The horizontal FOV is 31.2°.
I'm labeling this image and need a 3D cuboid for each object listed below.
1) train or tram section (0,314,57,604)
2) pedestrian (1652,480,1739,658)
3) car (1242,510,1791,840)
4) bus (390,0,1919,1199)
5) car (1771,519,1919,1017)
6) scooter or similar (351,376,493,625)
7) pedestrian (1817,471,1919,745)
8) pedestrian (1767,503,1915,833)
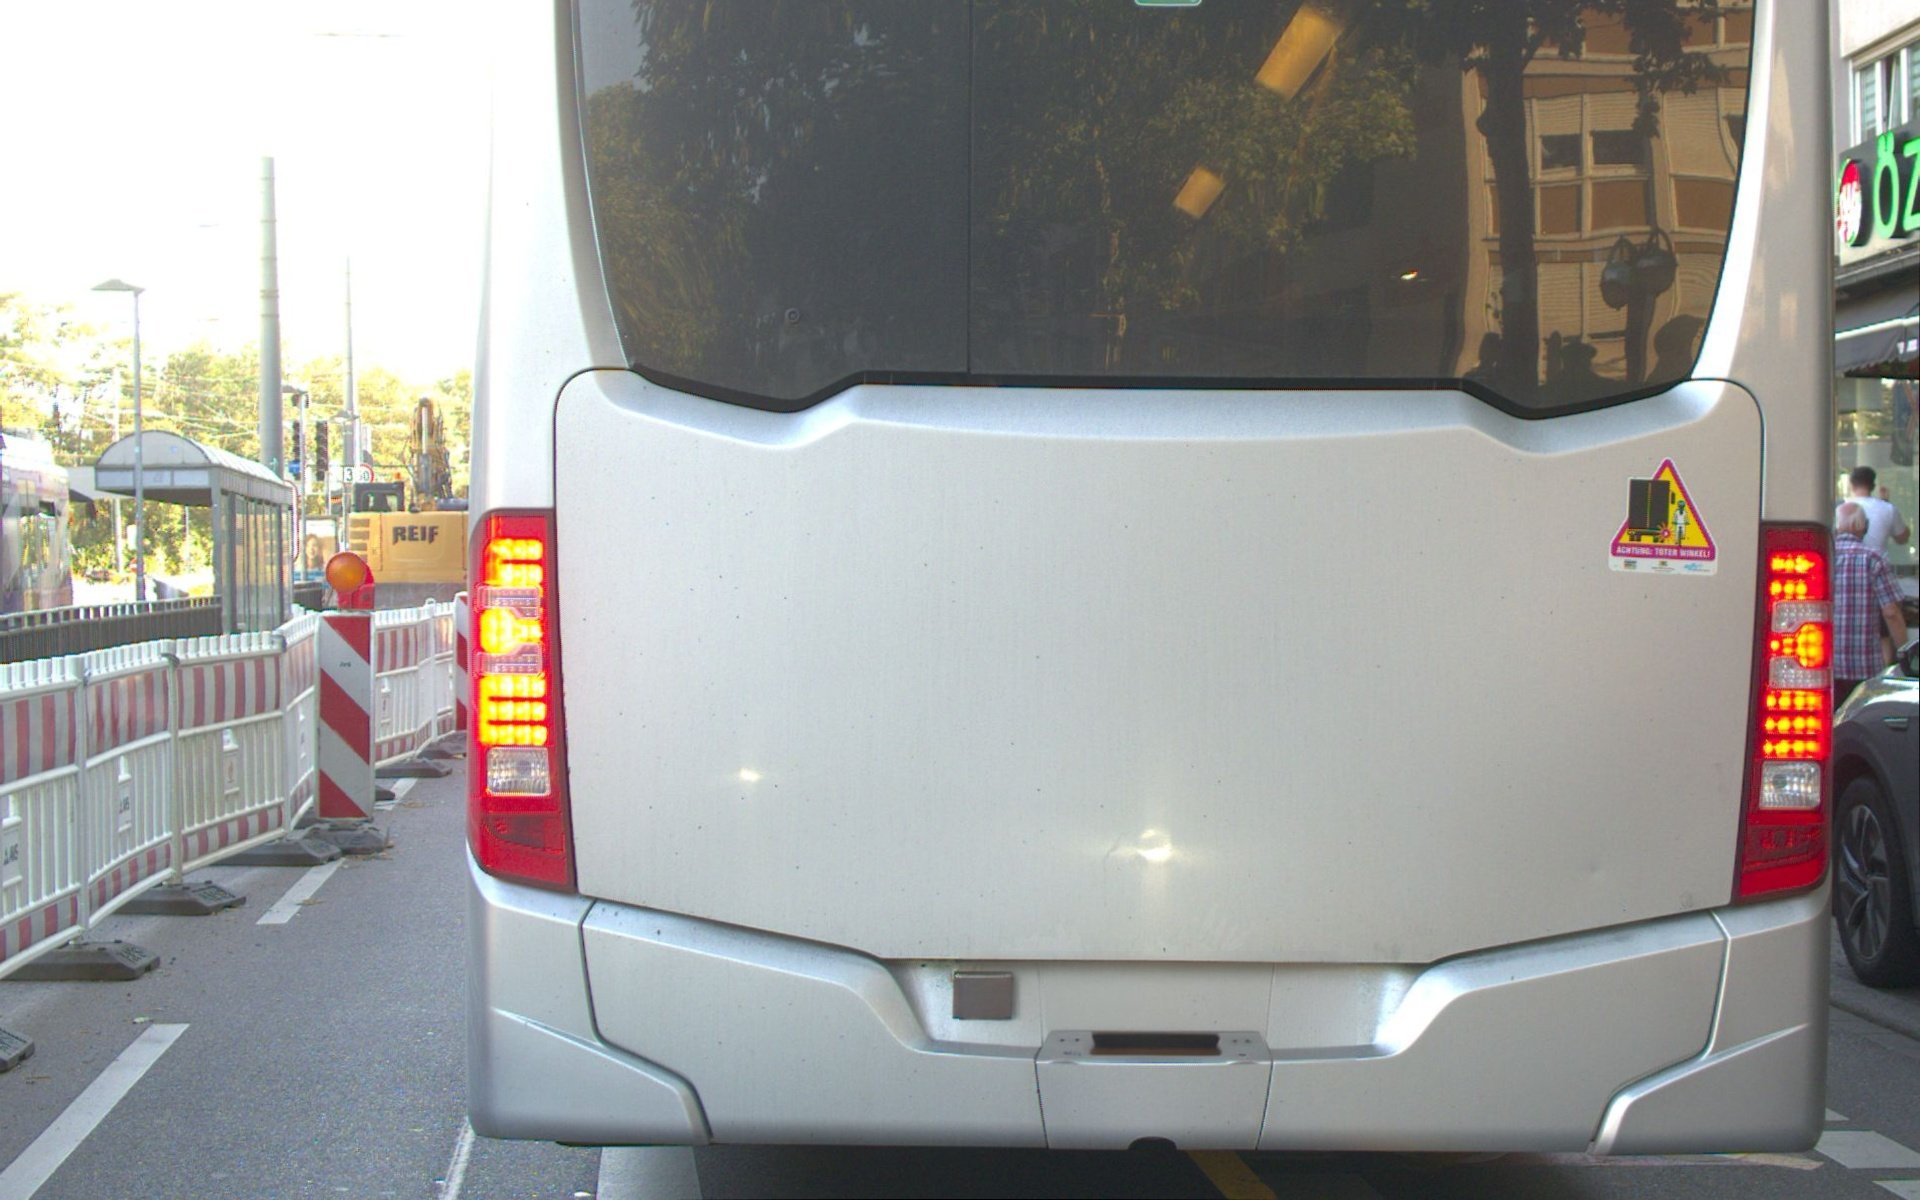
[{"bbox_3d":[-12.978,-1.723,41.463,2.686,3.521,11.585,1,1,-8],"label":"train or tram section"},{"bbox_3d":[7.644,-0.323,35.756,0.685,1.830,0.786,-1,1,-3],"label":"pedestrian"},{"bbox_3d":[3.006,0.333,19.587,1.993,1.576,4.369,-3,1,-5],"label":"car"},{"bbox_3d":[0.307,-0.202,9.875,2.611,3.115,7.993,1,1,-1],"label":"bus"},{"bbox_3d":[4.115,0.519,10.177,1.993,1.576,4.369,-3,1,-5],"label":"car"},{"bbox_3d":[-10.081,-1.831,64.753,2.468,4.455,5.974,-1,1,-8],"label":"scooter or similar"},{"bbox_3d":[6.850,0.050,25.652,0.685,2.007,0.786,-1,1,-1],"label":"pedestrian"},{"bbox_3d":[4.561,0.347,17.789,0.664,1.661,0.600,-2,0,16],"label":"pedestrian"}]
